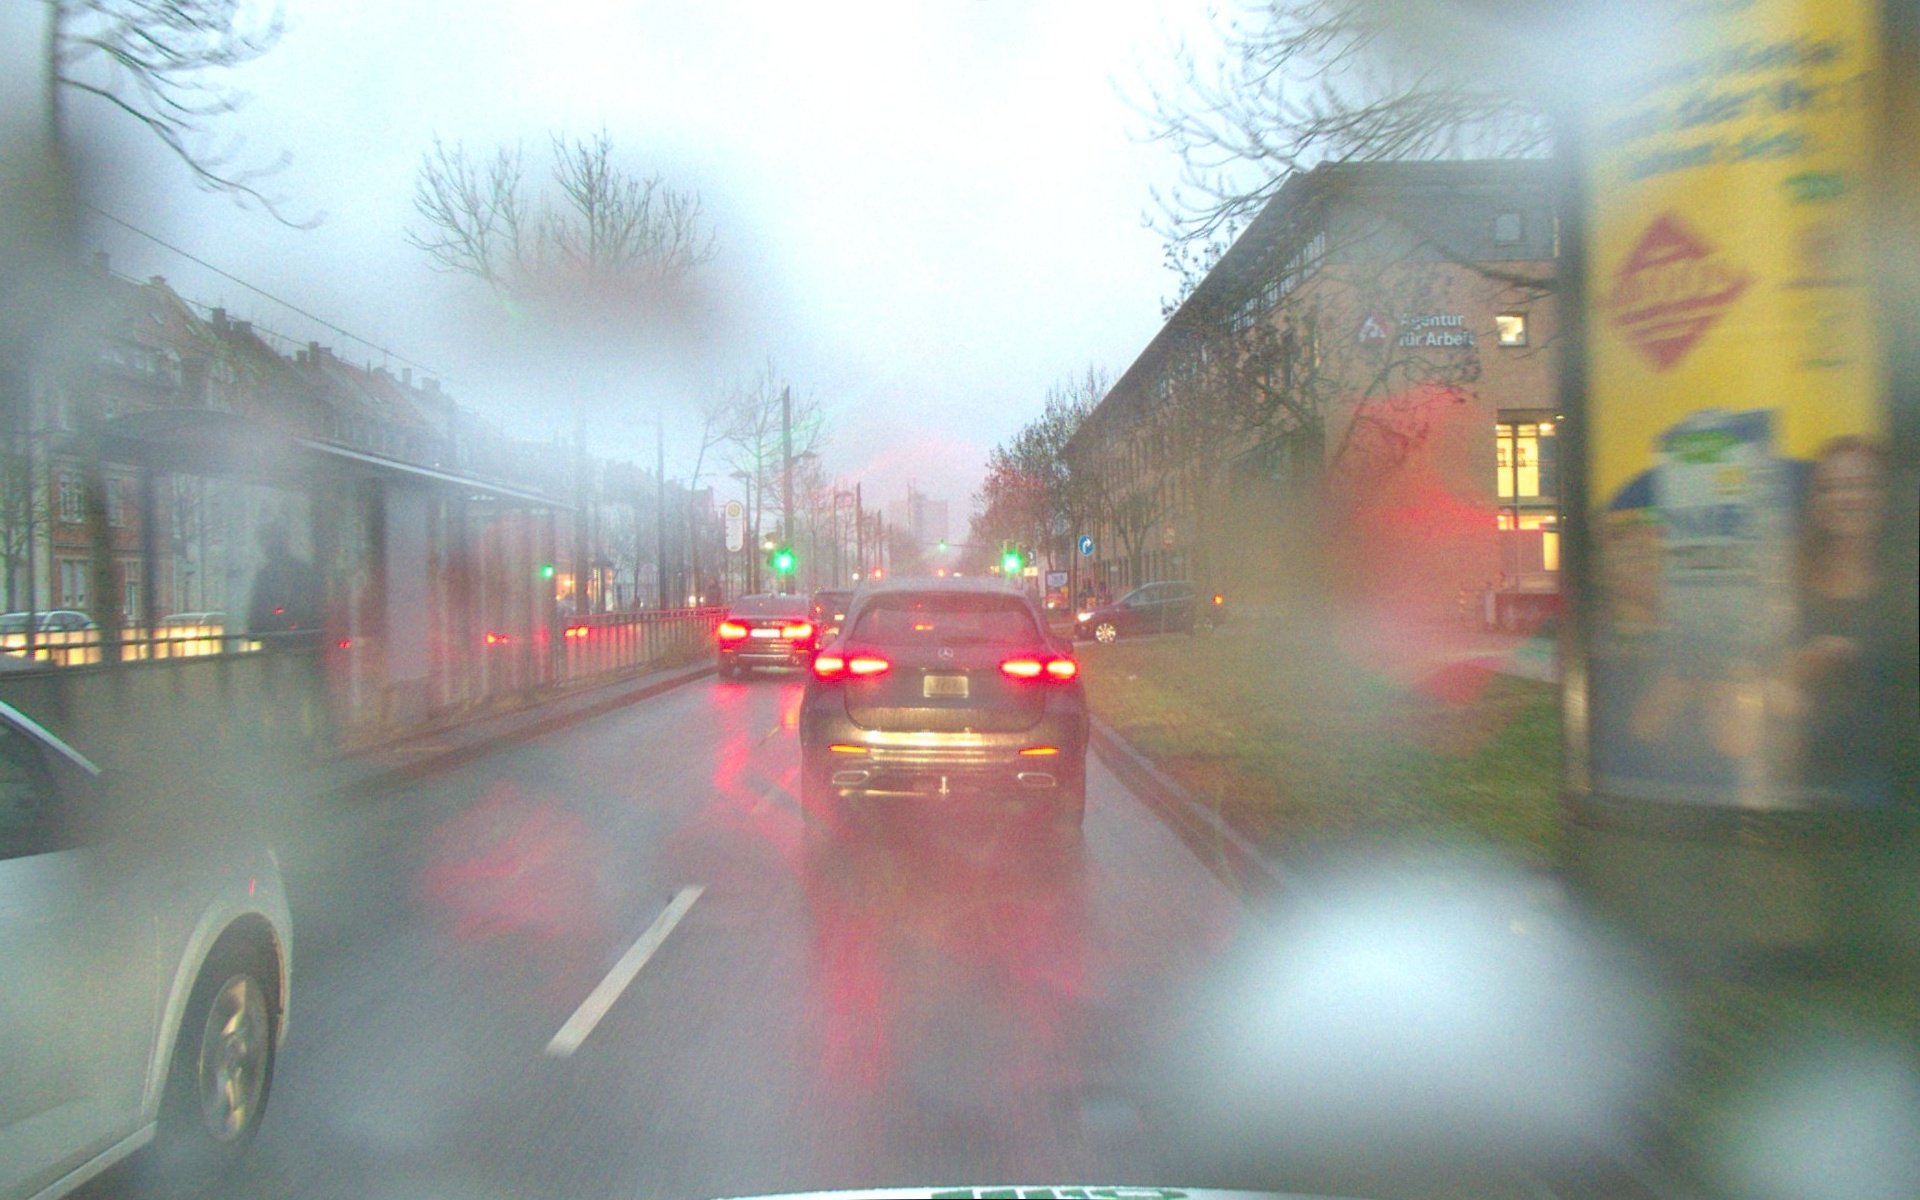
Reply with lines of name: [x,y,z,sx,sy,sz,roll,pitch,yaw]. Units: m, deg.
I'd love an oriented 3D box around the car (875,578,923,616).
car: [-2.744,-0.153,75.218,1.953,1.646,4.000,-2,1,0]

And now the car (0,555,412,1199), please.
car: [-2.447,0.704,2.889,1.593,1.513,4.000,-2,1,0]

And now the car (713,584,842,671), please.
car: [-3.285,0.455,30.470,1.953,1.422,3.999,-2,1,-1]

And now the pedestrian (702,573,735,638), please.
pedestrian: [-6.006,0.127,41.170,0.684,1.579,0.669,-2,0,-1]

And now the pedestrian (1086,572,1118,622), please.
pedestrian: [4.763,-0.096,55.454,0.888,1.624,0.499,-2,0,42]

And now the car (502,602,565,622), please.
car: [-28.417,0.774,110.323,3.694,1.176,1.650,-2,0,5]

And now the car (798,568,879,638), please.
car: [-3.320,0.055,45.913,1.953,1.796,3.999,-2,1,-1]

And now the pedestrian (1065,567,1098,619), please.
pedestrian: [3.920,-0.223,53.239,0.888,1.624,0.499,-2,0,42]

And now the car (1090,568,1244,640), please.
car: [5.426,0.093,43.711,3.781,1.587,1.765,-4,0,1]

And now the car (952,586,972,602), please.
car: [0.179,-0.595,167.760,1.953,1.505,3.999,-2,0,-1]

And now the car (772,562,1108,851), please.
car: [-0.178,0.612,11.817,1.951,1.644,3.999,-2,1,-2]

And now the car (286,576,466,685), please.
car: [-10.960,0.531,31.348,1.953,1.854,3.999,-2,0,-1]
